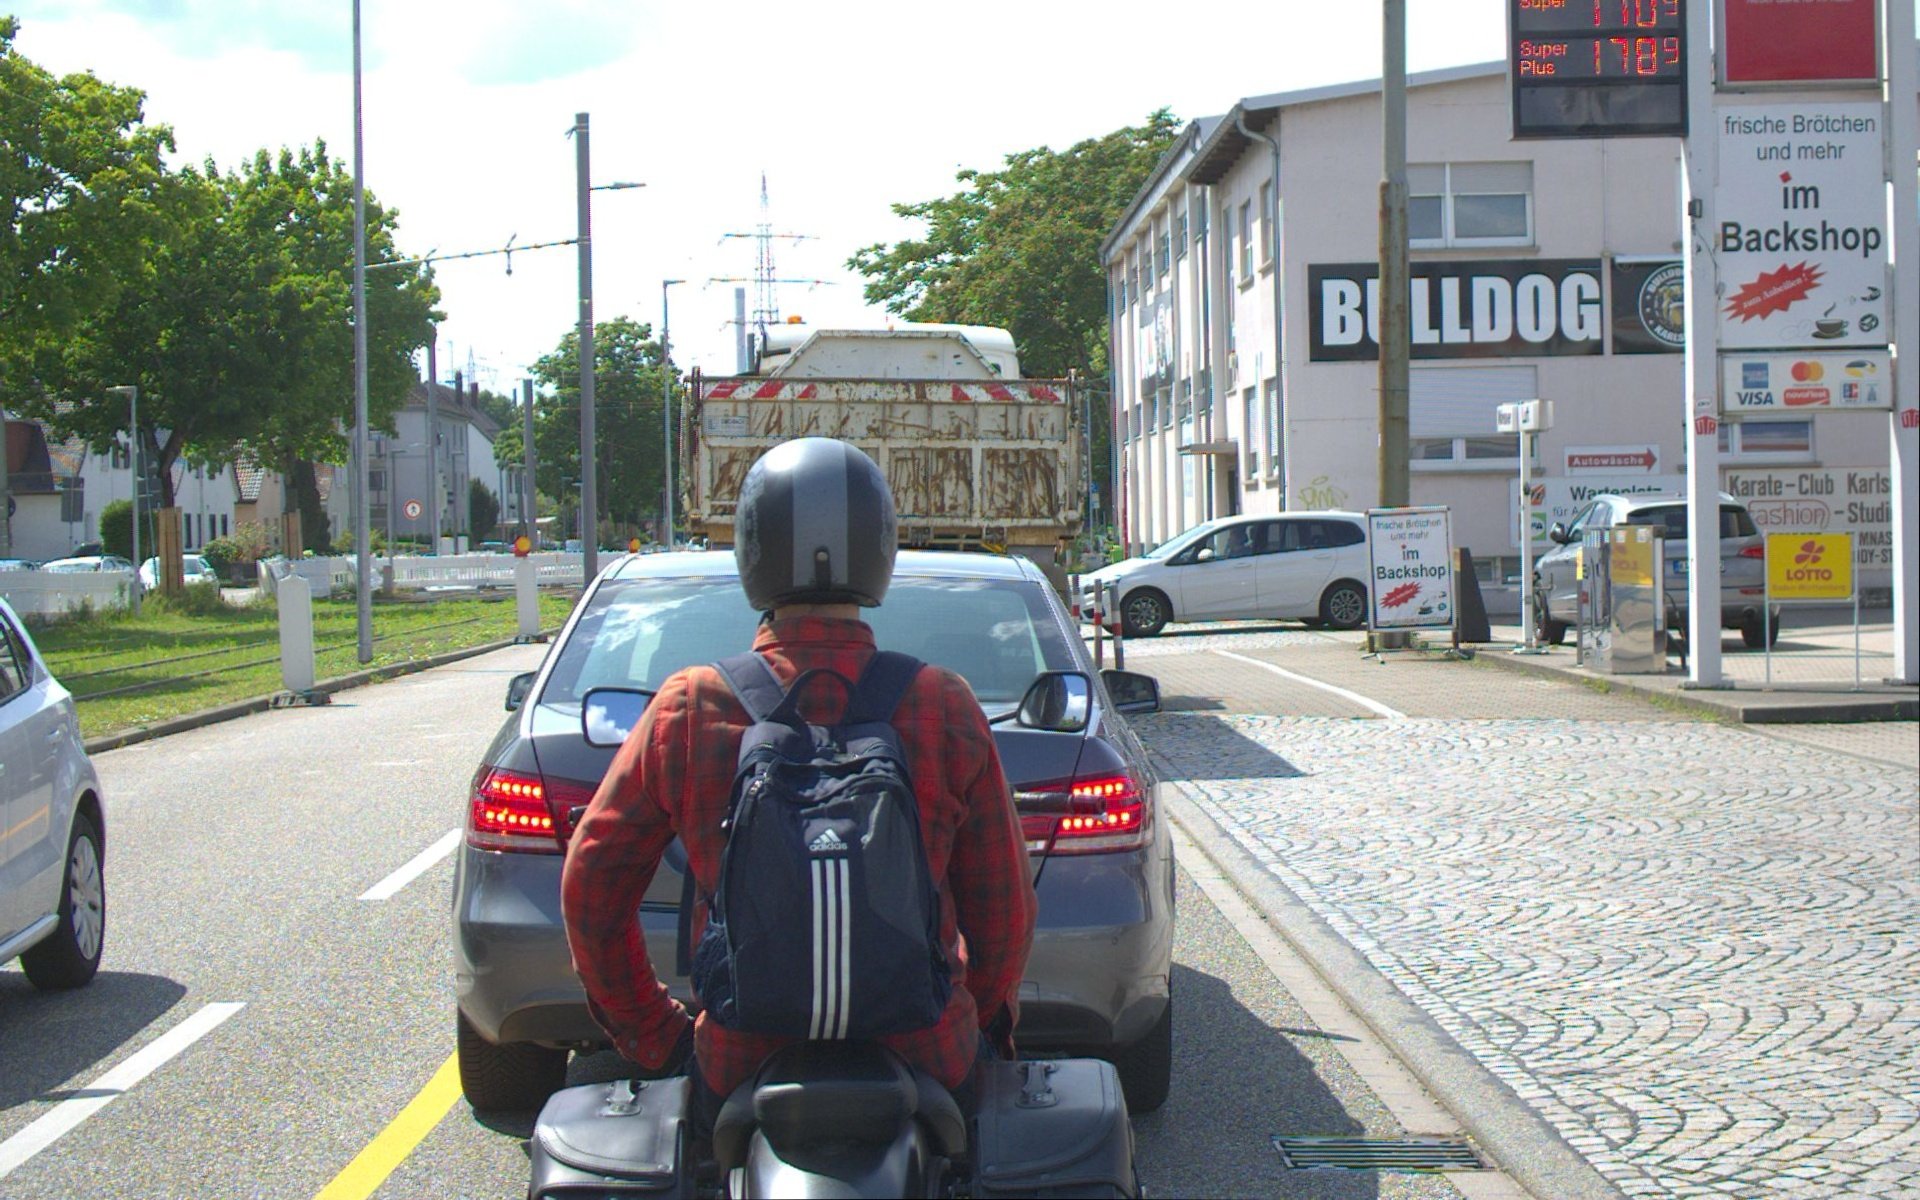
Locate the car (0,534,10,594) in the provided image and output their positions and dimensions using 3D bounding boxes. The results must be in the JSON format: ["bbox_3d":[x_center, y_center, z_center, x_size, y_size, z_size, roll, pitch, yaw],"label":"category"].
[{"bbox_3d":[-28.669,-1.000,98.572,1.698,1.733,4.062,-1,1,0],"label":"car"}]

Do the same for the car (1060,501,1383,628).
[{"bbox_3d":[3.552,-0.500,47.026,4.104,1.619,1.686,-1,1,-8],"label":"car"}]

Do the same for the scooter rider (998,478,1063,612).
[{"bbox_3d":[0.967,-0.753,47.107,0.795,1.812,0.508,-1,1,-6],"label":"scooter rider"}]

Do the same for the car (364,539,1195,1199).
[{"bbox_3d":[-0.460,0.594,9.747,1.832,1.474,4.010,-1,1,-2],"label":"car"}]

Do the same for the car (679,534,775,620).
[{"bbox_3d":[-4.631,-0.480,68.754,1.680,1.619,4.119,-1,1,-1],"label":"car"}]

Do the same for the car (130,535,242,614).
[{"bbox_3d":[-17.940,-0.621,79.841,1.698,1.733,3.860,-1,1,0],"label":"car"}]

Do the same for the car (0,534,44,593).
[{"bbox_3d":[-29.264,-1.111,104.583,1.698,1.733,4.062,-1,1,0],"label":"car"}]

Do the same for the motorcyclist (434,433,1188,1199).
[{"bbox_3d":[-0.204,0.588,5.080,0.969,1.627,1.215,1,1,-1],"label":"motorcyclist"}]

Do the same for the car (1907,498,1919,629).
[{"bbox_3d":[11.790,-0.400,37.238,1.832,1.474,4.010,-1,1,-2],"label":"car"}]

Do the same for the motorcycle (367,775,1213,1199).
[{"bbox_3d":[-0.214,0.863,5.203,0.976,1.010,2.432,1,1,-1],"label":"motorcycle"}]

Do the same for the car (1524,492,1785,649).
[{"bbox_3d":[7.326,-0.340,36.640,1.832,1.530,4.010,-1,1,-2],"label":"car"}]

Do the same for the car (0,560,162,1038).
[{"bbox_3d":[-3.754,0.627,10.366,1.715,1.409,4.262,-1,1,-1],"label":"car"}]

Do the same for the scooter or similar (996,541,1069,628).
[{"bbox_3d":[0.985,-0.225,47.083,0.795,1.141,1.519,-1,1,-6],"label":"scooter or similar"}]

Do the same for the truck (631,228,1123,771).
[{"bbox_3d":[-0.633,-0.715,25.463,2.970,3.293,8.408,-1,1,-2],"label":"truck"}]
